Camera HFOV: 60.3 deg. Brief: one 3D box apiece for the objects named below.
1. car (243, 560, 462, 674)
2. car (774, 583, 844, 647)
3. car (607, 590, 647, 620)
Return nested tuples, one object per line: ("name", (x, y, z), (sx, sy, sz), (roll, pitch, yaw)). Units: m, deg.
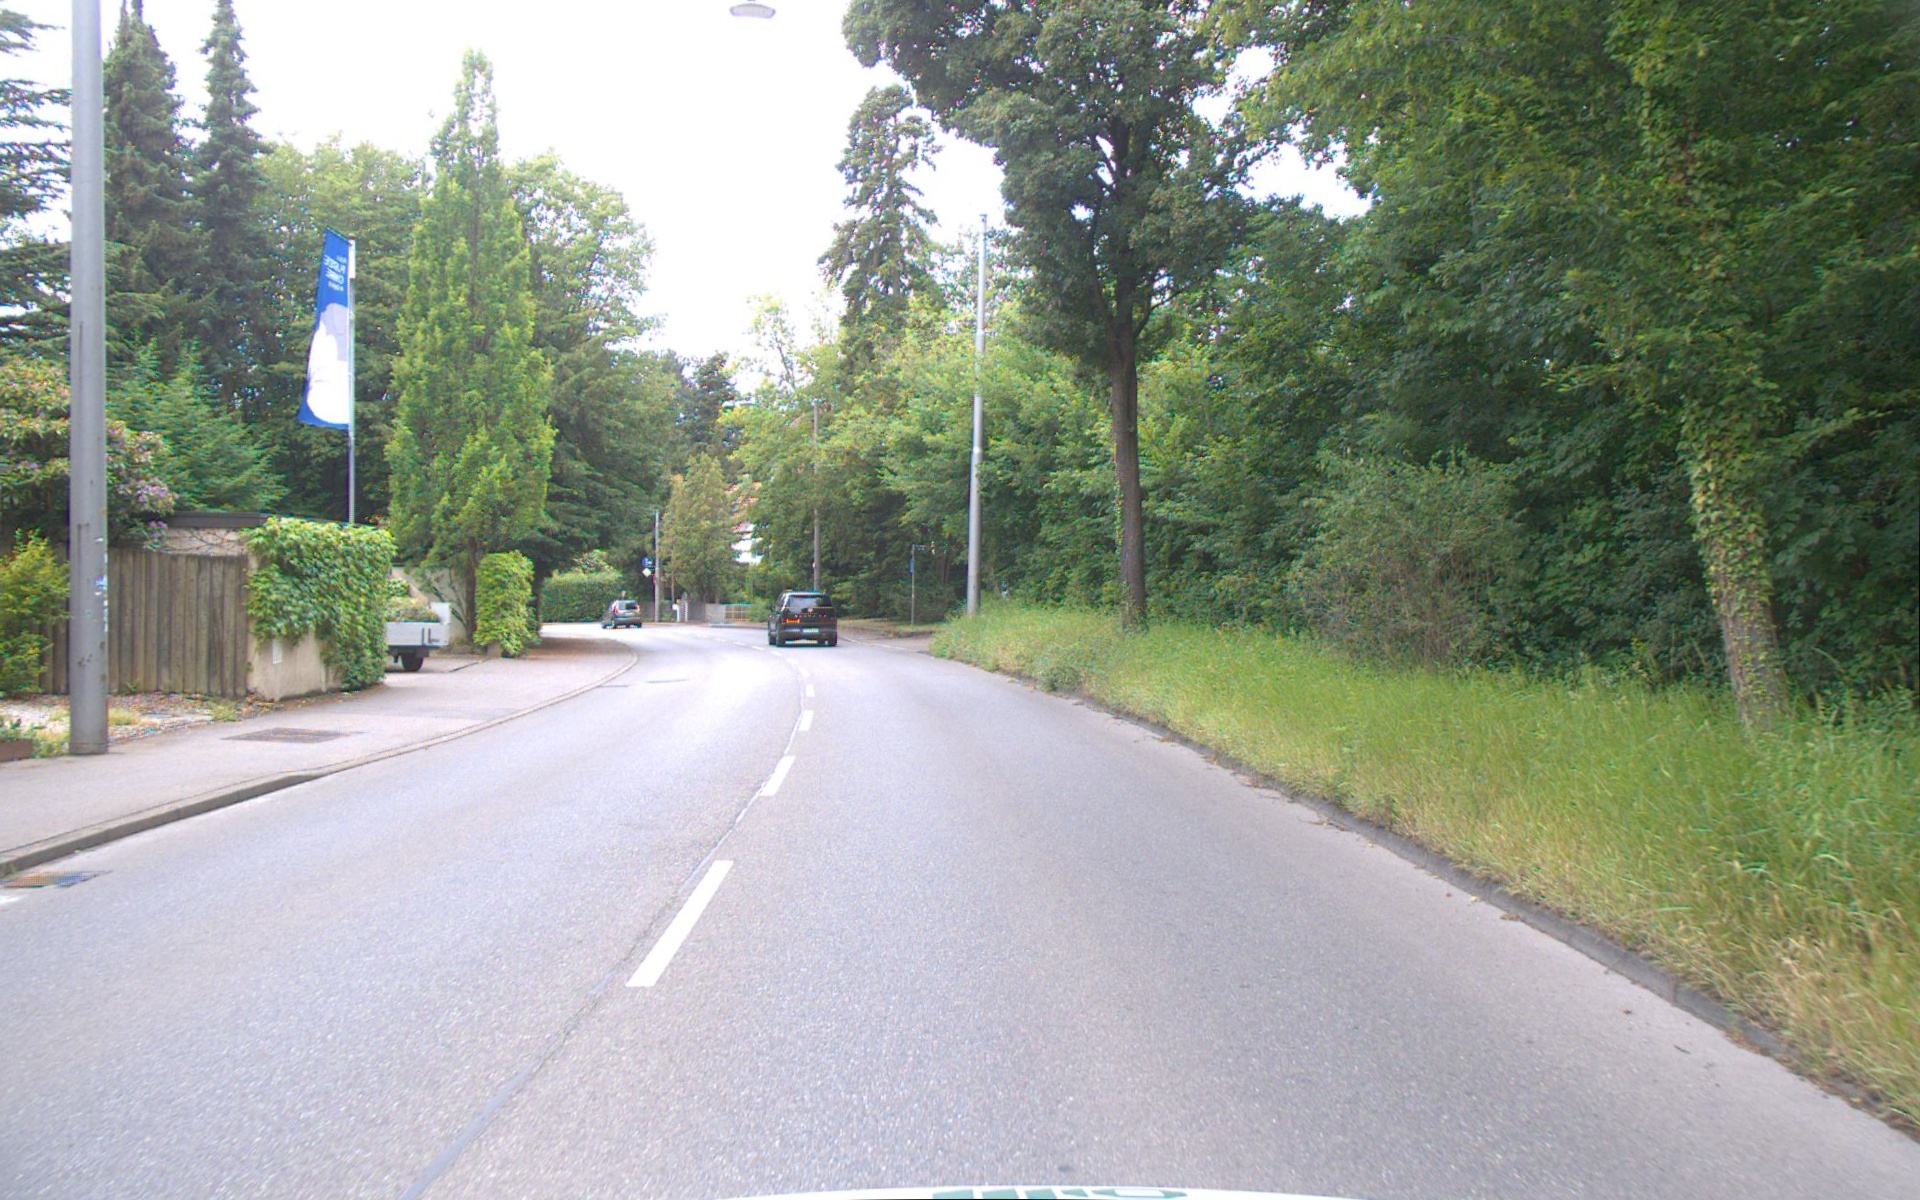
("car", (-12.317, 0.308, 33.333), (2.405, 2.109, 5.280), (0, 0, -42))
("car", (-4.842, 0.443, 52.600), (1.957, 1.914, 3.991), (0, 1, -10))
("car", (-19.507, 0.280, 96.759), (1.962, 1.646, 3.981), (0, 1, -17))
